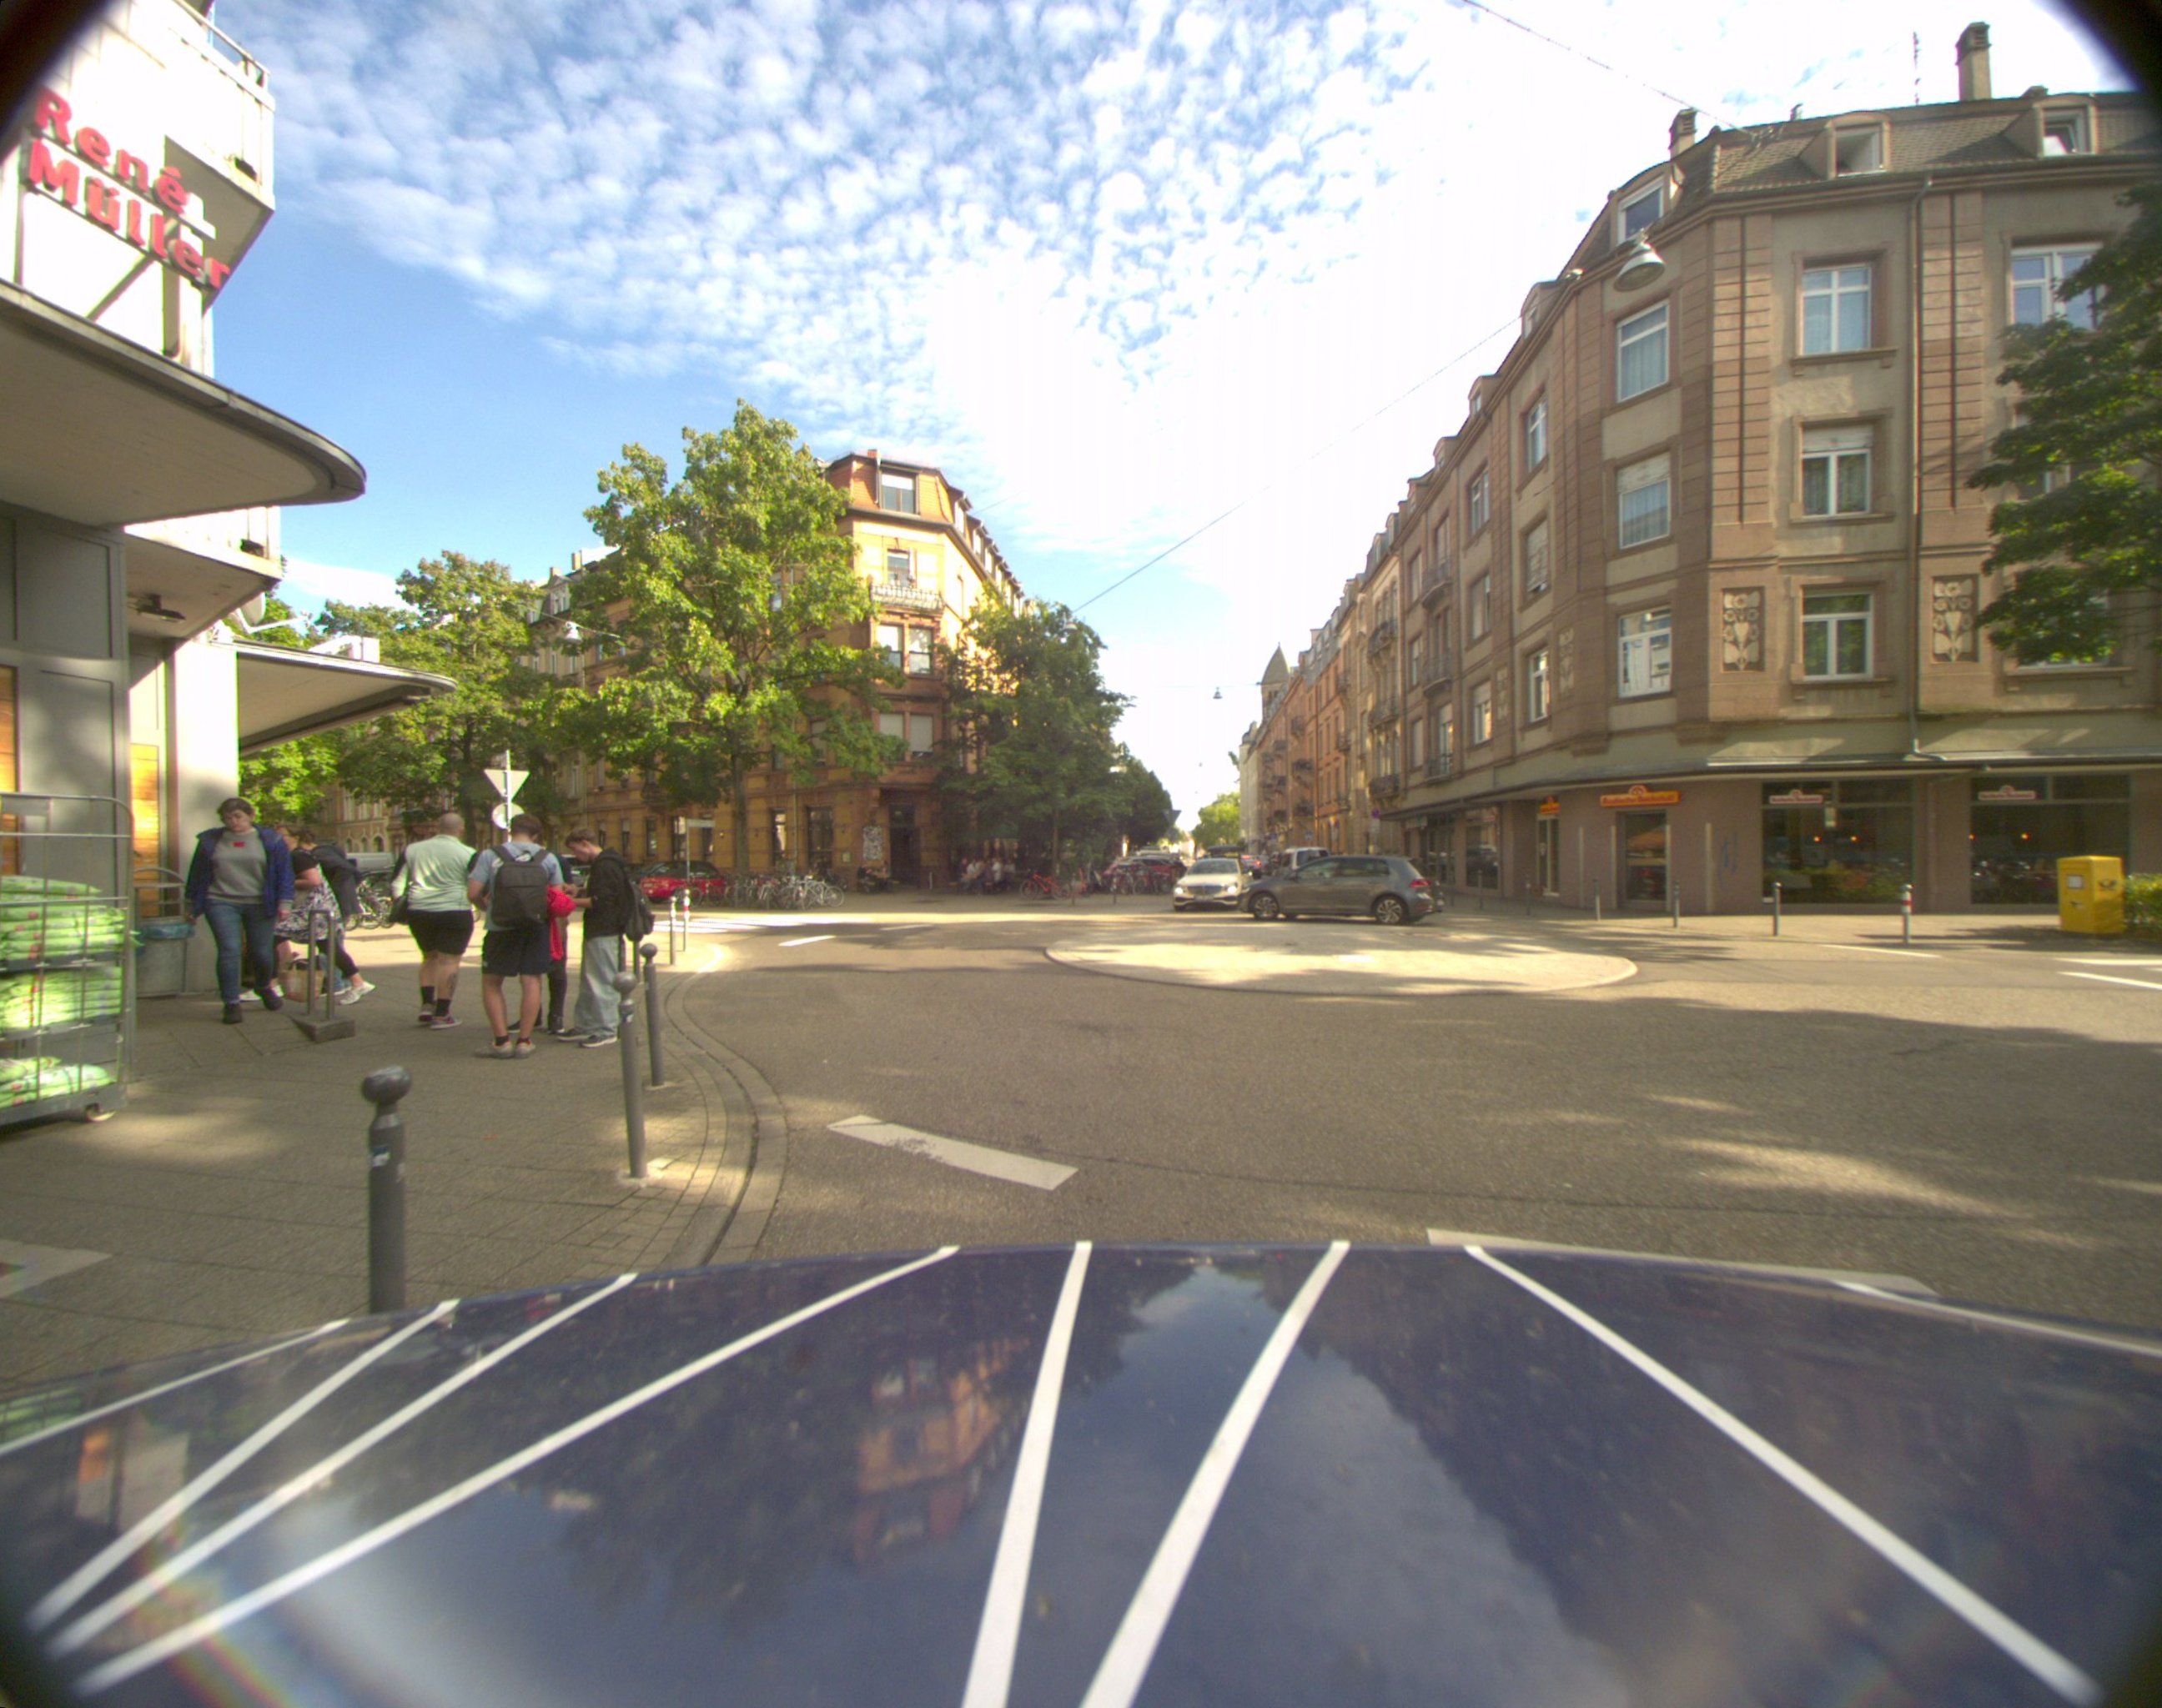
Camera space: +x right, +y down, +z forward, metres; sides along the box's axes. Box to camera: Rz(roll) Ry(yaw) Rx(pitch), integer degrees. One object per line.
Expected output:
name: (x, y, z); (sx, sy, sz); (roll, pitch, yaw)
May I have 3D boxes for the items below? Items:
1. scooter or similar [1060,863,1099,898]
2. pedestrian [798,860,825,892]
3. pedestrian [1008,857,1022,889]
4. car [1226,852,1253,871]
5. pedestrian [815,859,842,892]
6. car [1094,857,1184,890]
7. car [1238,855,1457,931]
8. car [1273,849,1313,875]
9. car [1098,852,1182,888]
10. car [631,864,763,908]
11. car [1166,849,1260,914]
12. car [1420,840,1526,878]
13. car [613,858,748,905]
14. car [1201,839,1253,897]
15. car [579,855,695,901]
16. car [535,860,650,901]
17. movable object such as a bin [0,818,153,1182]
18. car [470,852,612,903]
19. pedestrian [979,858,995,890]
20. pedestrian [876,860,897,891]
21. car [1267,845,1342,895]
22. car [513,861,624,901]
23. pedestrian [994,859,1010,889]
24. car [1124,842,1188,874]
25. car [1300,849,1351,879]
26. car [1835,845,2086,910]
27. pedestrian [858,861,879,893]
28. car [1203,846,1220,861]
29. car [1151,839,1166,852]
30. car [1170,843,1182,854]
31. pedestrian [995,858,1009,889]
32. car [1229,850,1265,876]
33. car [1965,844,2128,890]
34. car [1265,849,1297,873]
scooter or similar: (-0.066, 0.934, 27.117); (1.289, 1.203, 0.557); (0, -1, 34)
pedestrian: (-11.268, 0.913, 31.723); (0.627, 1.278, 0.770); (-1, 3, 31)
pedestrian: (-2.779, 0.803, 32.079); (0.467, 1.320, 0.621); (-1, 2, -16)
car: (12.355, 0.581, 59.518); (1.768, 1.373, 4.455); (-4, -1, 9)
pedestrian: (-10.417, 0.879, 31.345); (0.627, 1.278, 0.770); (-1, 3, 31)
car: (2.545, 0.854, 33.307); (3.591, 1.372, 1.511); (1, 0, -18)
car: (5.553, 0.760, 16.084); (3.988, 1.429, 1.801); (-1, -1, 40)
car: (13.291, 0.500, 47.894); (1.761, 1.488, 4.135); (-2, 0, 7)
car: (2.764, 0.747, 35.666); (3.590, 1.606, 1.511); (1, 0, -15)
car: (-14.247, 1.158, 28.433); (1.564, 1.263, 4.119); (-2, 1, 31)
car: (3.984, 0.715, 22.255); (1.941, 1.588, 4.842); (-3, 0, 18)
car: (18.597, 0.236, 36.191); (3.997, 1.611, 2.000); (-2, 0, -1)
car: (-16.134, 1.063, 30.810); (2.001, 1.561, 4.320); (-2, 2, 39)
car: (5.585, 0.494, 29.158); (1.791, 2.051, 4.003); (-1, 0, 11)
car: (-18.528, 0.970, 31.861); (1.856, 1.711, 3.715); (-2, 0, 34)
car: (-20.861, 1.113, 32.564); (1.665, 1.449, 3.714); (-2, 2, 34)
movable object such as a bin: (-5.652, 0.705, 2.994); (0.781, 1.734, 2.425); (-1, 1, 9)
car: (-25.149, 1.020, 35.595); (2.041, 1.978, 4.919); (0, 3, 30)
pedestrian: (-3.882, 0.812, 31.358); (0.549, 1.293, 0.621); (-1, 2, -16)
pedestrian: (-8.014, 0.873, 31.258); (0.510, 1.252, 0.643); (2, 4, 40)
car: (8.579, 0.602, 29.558); (1.833, 1.780, 4.332); (-2, -1, 4)
car: (-22.918, 1.164, 34.097); (1.665, 1.450, 3.714); (0, 3, 34)
pedestrian: (-3.271, 0.820, 31.501); (0.549, 1.225, 0.621); (-1, 2, -16)
car: (6.082, 0.323, 61.420); (4.744, 2.408, 1.996); (-2, 0, -24)
car: (12.018, 0.456, 37.504); (1.722, 1.360, 3.832); (-2, 0, 8)
car: (22.367, 0.557, 19.613); (1.765, 1.421, 3.999); (-2, 0, -2)
pedestrian: (-8.584, 0.913, 30.706); (0.510, 1.218, 0.643); (2, 4, 40)
car: (17.180, -0.028, 100.377); (1.942, 1.869, 4.839); (-2, 0, 7)
car: (10.773, -1.179, 105.941); (1.849, 1.724, 4.001); (-2, 0, 2)
car: (17.627, -1.021, 140.873); (1.997, 1.877, 4.003); (-2, 0, 10)
pedestrian: (-3.371, 0.827, 32.477); (0.467, 1.320, 0.621); (-1, 2, -16)
car: (11.064, 0.586, 50.916); (1.997, 1.625, 4.847); (-1, 0, 9)
car: (36.076, 0.486, 28.486); (3.628, 1.557, 1.580); (-2, 0, 10)
car: (14.241, 0.469, 54.294); (1.760, 1.588, 4.344); (-1, 0, 8)
